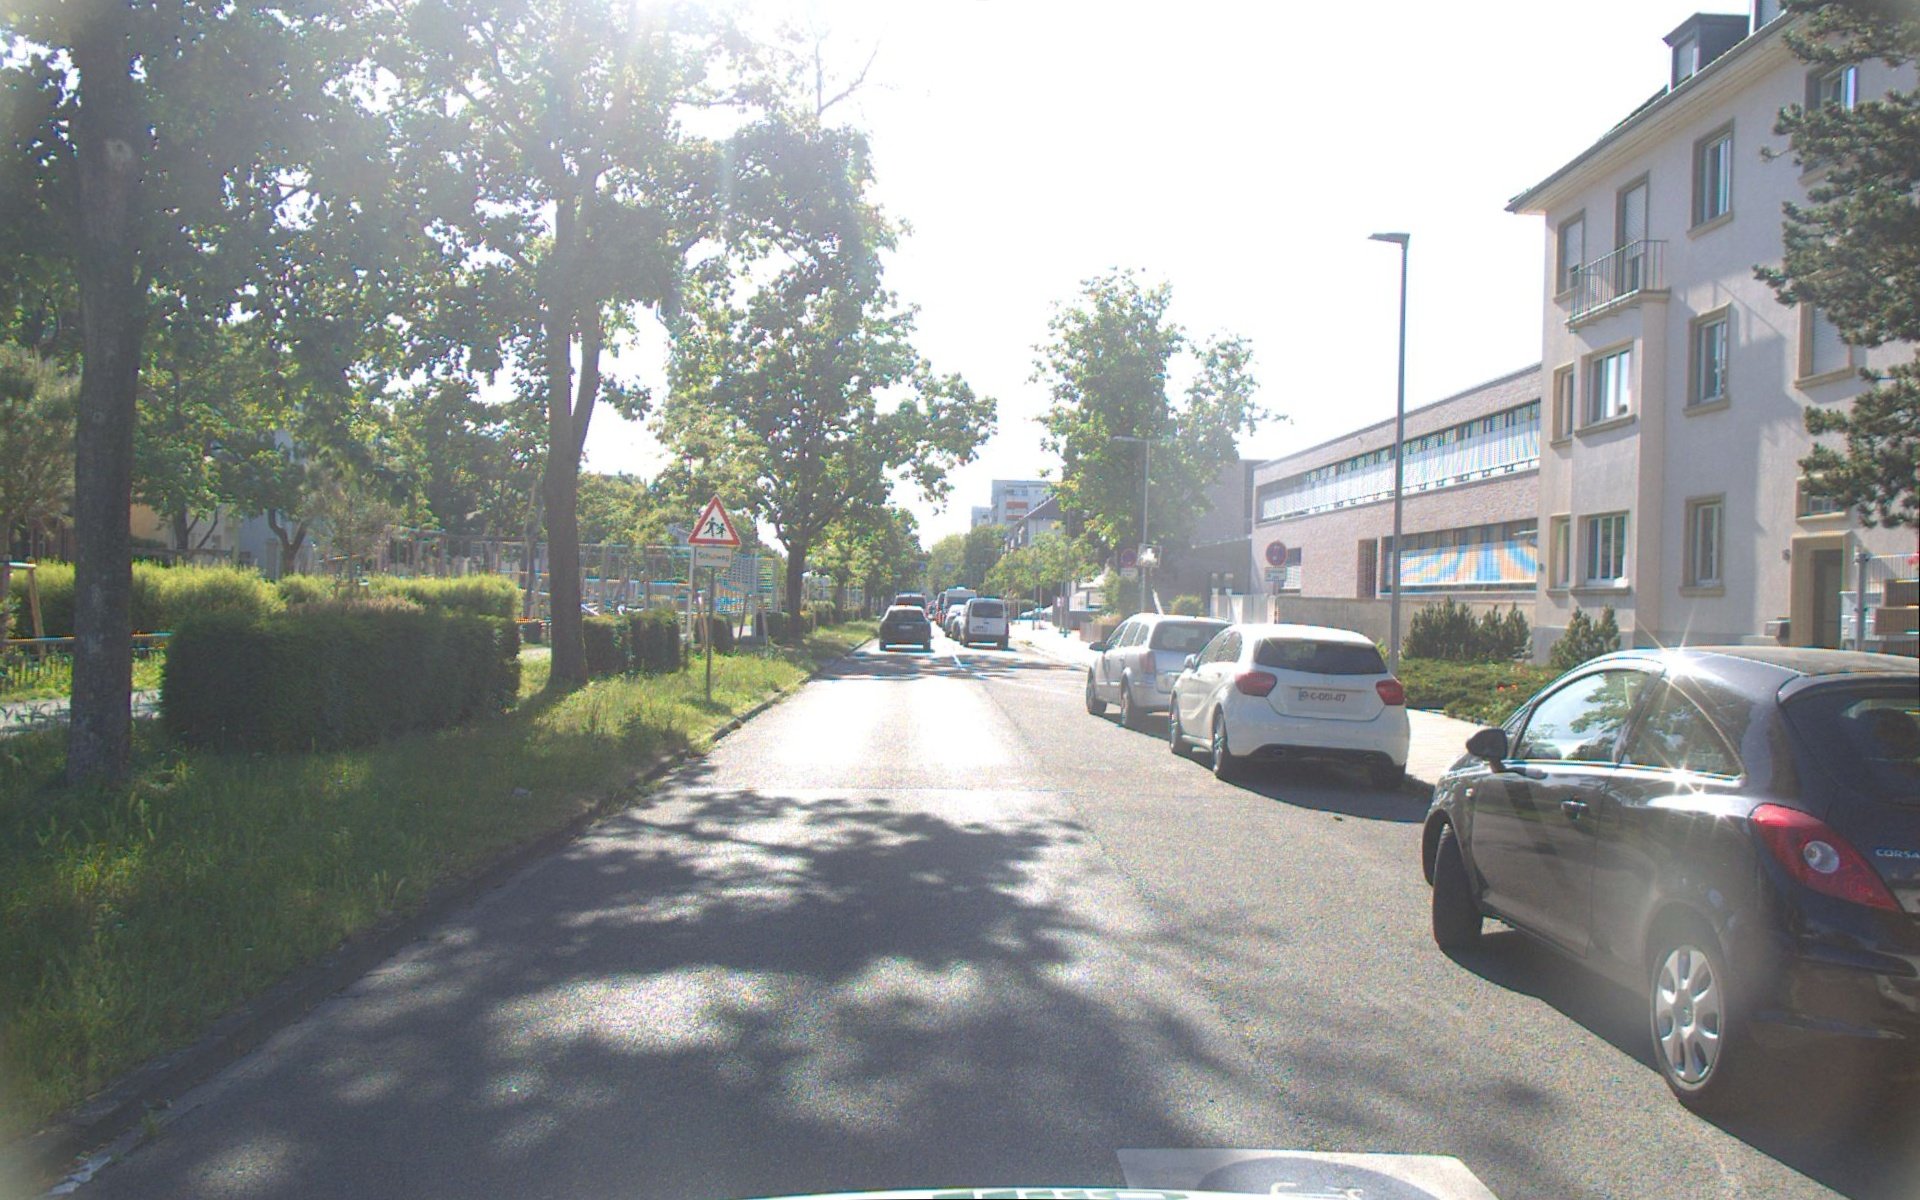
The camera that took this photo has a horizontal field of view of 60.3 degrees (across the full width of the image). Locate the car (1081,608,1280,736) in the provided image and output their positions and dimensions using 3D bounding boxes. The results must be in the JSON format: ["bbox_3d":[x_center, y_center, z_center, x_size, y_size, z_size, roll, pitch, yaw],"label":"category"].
[{"bbox_3d":[2.941,0.924,22.869,1.761,1.520,3.994,2,0,-6],"label":"car"}]

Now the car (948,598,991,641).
[{"bbox_3d":[0.409,0.862,74.493,1.780,1.862,3.998,2,0,-2],"label":"car"}]

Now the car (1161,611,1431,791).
[{"bbox_3d":[3.240,0.915,16.743,1.759,1.520,3.998,2,0,-2],"label":"car"}]

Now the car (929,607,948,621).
[{"bbox_3d":[-2.156,1.382,164.252,1.780,1.382,3.998,2,0,-2],"label":"car"}]

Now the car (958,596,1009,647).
[{"bbox_3d":[0.882,0.824,64.058,1.780,1.862,3.998,2,0,-2],"label":"car"}]

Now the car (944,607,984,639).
[{"bbox_3d":[0.167,1.100,80.208,1.780,1.424,3.998,2,0,-2],"label":"car"}]

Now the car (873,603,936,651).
[{"bbox_3d":[-1.956,0.896,57.282,1.954,1.551,4.751,1,0,-4],"label":"car"}]

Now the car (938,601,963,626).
[{"bbox_3d":[-0.751,1.041,129.609,1.780,1.867,3.998,2,0,-2],"label":"car"}]

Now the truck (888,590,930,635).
[{"bbox_3d":[-2.485,0.589,80.779,1.953,2.071,4.872,1,0,-2],"label":"truck"}]

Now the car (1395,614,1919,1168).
[{"bbox_3d":[3.131,0.864,6.590,1.638,1.520,3.825,2,0,-2],"label":"car"}]

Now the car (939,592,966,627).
[{"bbox_3d":[-0.552,0.699,117.721,1.780,2.395,3.998,2,0,-2],"label":"car"}]

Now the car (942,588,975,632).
[{"bbox_3d":[-0.114,0.585,100.562,1.780,2.562,3.998,2,0,-2],"label":"car"}]
